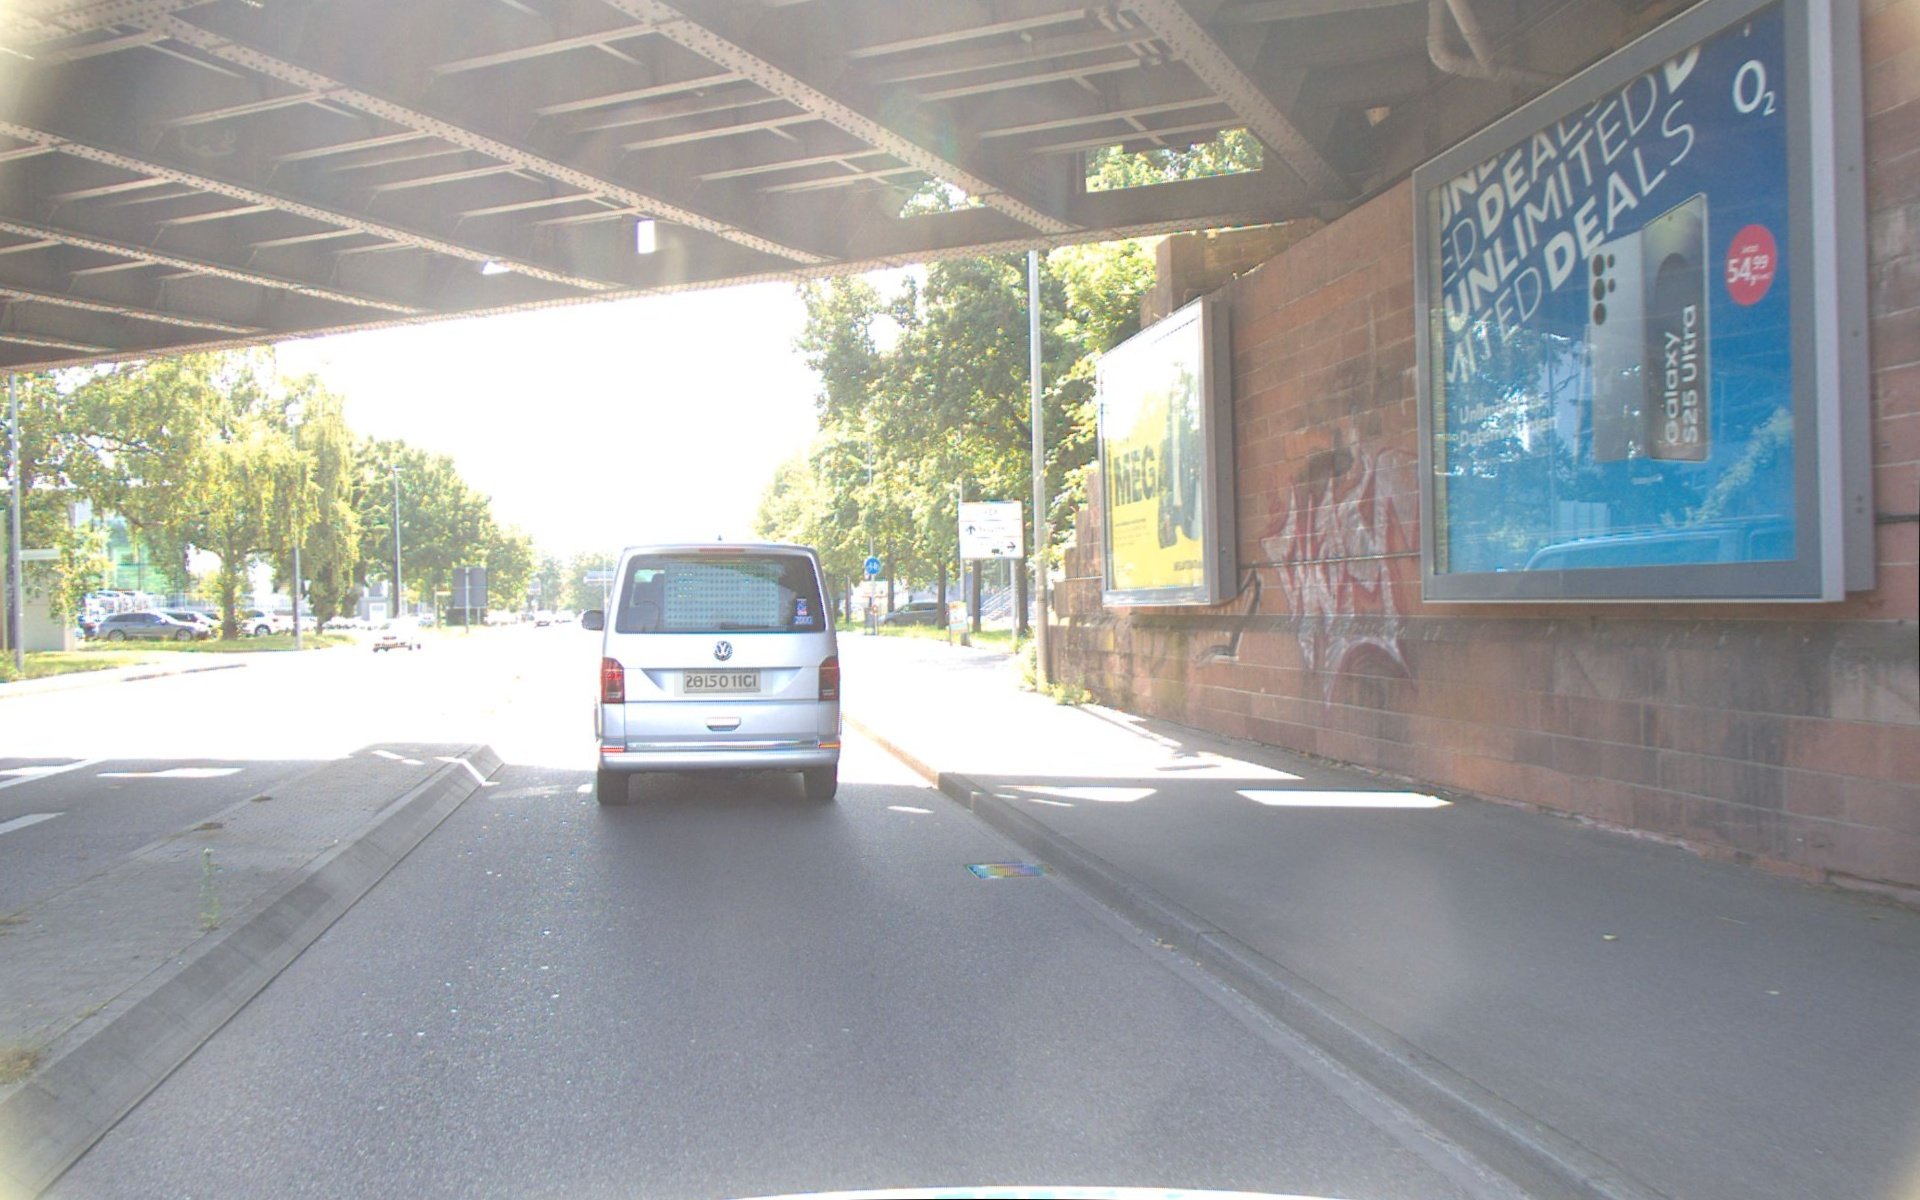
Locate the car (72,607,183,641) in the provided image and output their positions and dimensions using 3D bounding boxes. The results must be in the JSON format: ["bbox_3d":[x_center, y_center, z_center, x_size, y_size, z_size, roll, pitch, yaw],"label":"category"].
[{"bbox_3d":[-37.747,1.076,75.093,4.172,1.368,1.990,-1,0,-18],"label":"car"}]

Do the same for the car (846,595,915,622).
[{"bbox_3d":[-4.557,0.493,94.811,3.731,1.441,1.698,-2,0,-10],"label":"car"}]

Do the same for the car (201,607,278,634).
[{"bbox_3d":[-44.846,1.261,103.035,4.172,1.574,1.857,-1,0,-18],"label":"car"}]

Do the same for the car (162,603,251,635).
[{"bbox_3d":[-41.030,1.029,90.171,4.172,1.574,1.857,-1,0,-18],"label":"car"}]

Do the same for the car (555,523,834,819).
[{"bbox_3d":[-2.389,0.493,13.889,1.908,2.006,5.004,0,0,-13],"label":"car"}]

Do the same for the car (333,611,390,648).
[{"bbox_3d":[-26.462,1.276,73.219,1.935,1.518,4.067,-2,0,-14],"label":"car"}]

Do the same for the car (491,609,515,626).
[{"bbox_3d":[-41.785,1.586,151.265,1.935,1.518,4.067,-2,0,-14],"label":"car"}]
